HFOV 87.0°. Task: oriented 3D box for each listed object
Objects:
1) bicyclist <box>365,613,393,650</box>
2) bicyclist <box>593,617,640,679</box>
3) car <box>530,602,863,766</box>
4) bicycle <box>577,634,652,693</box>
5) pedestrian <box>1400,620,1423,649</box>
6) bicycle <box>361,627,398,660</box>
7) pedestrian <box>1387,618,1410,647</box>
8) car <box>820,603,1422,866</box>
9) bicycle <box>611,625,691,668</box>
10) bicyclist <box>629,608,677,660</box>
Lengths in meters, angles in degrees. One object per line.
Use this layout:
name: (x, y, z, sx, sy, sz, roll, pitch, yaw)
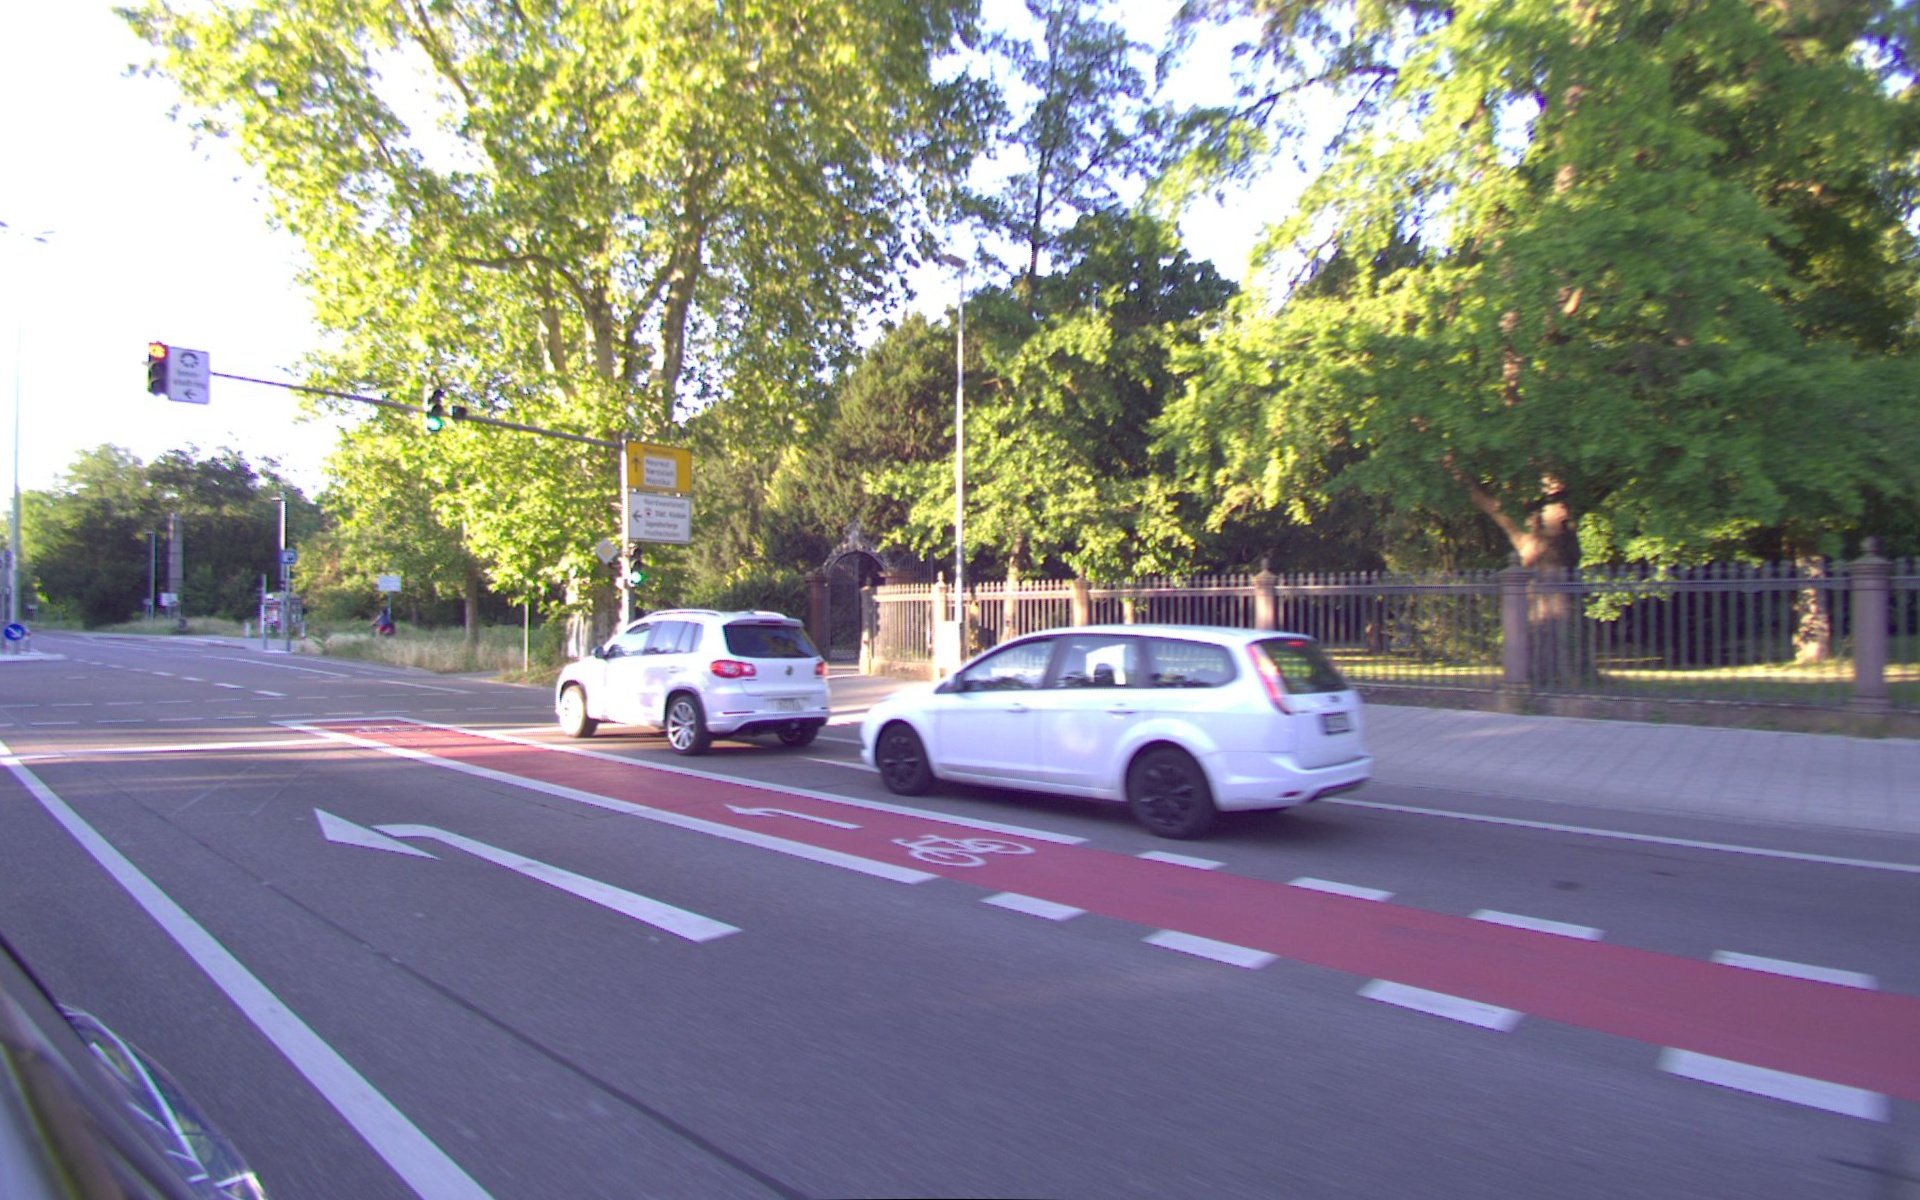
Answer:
bicyclist: (-23.403, 1.265, 40.788, 0.892, 1.438, 0.780, -1, -1, 45)
bicyclist: (-7.708, 1.063, 22.721, 0.571, 1.372, 0.830, -1, -1, 31)
car: (-3.438, 0.945, 12.759, 4.424, 1.708, 1.896, -1, -3, 41)
bicycle: (-7.729, 1.408, 22.720, 0.571, 1.239, 1.615, -1, -1, 31)
pedestrian: (25.900, 1.976, 58.021, 0.860, 1.672, 0.907, 1, -1, -39)
bicycle: (-23.416, 1.745, 40.797, 1.981, 1.266, 0.780, -1, -1, 45)
pedestrian: (25.653, 1.917, 59.219, 0.860, 1.672, 0.907, 1, -1, -39)
car: (1.100, 0.892, 8.426, 4.672, 1.595, 1.896, -1, -3, 41)
bicycle: (-9.415, 1.399, 30.823, 2.182, 1.023, 0.852, 7, 0, 20)
bicyclist: (-9.336, 1.033, 30.811, 0.937, 1.442, 0.852, 6, 0, 20)
